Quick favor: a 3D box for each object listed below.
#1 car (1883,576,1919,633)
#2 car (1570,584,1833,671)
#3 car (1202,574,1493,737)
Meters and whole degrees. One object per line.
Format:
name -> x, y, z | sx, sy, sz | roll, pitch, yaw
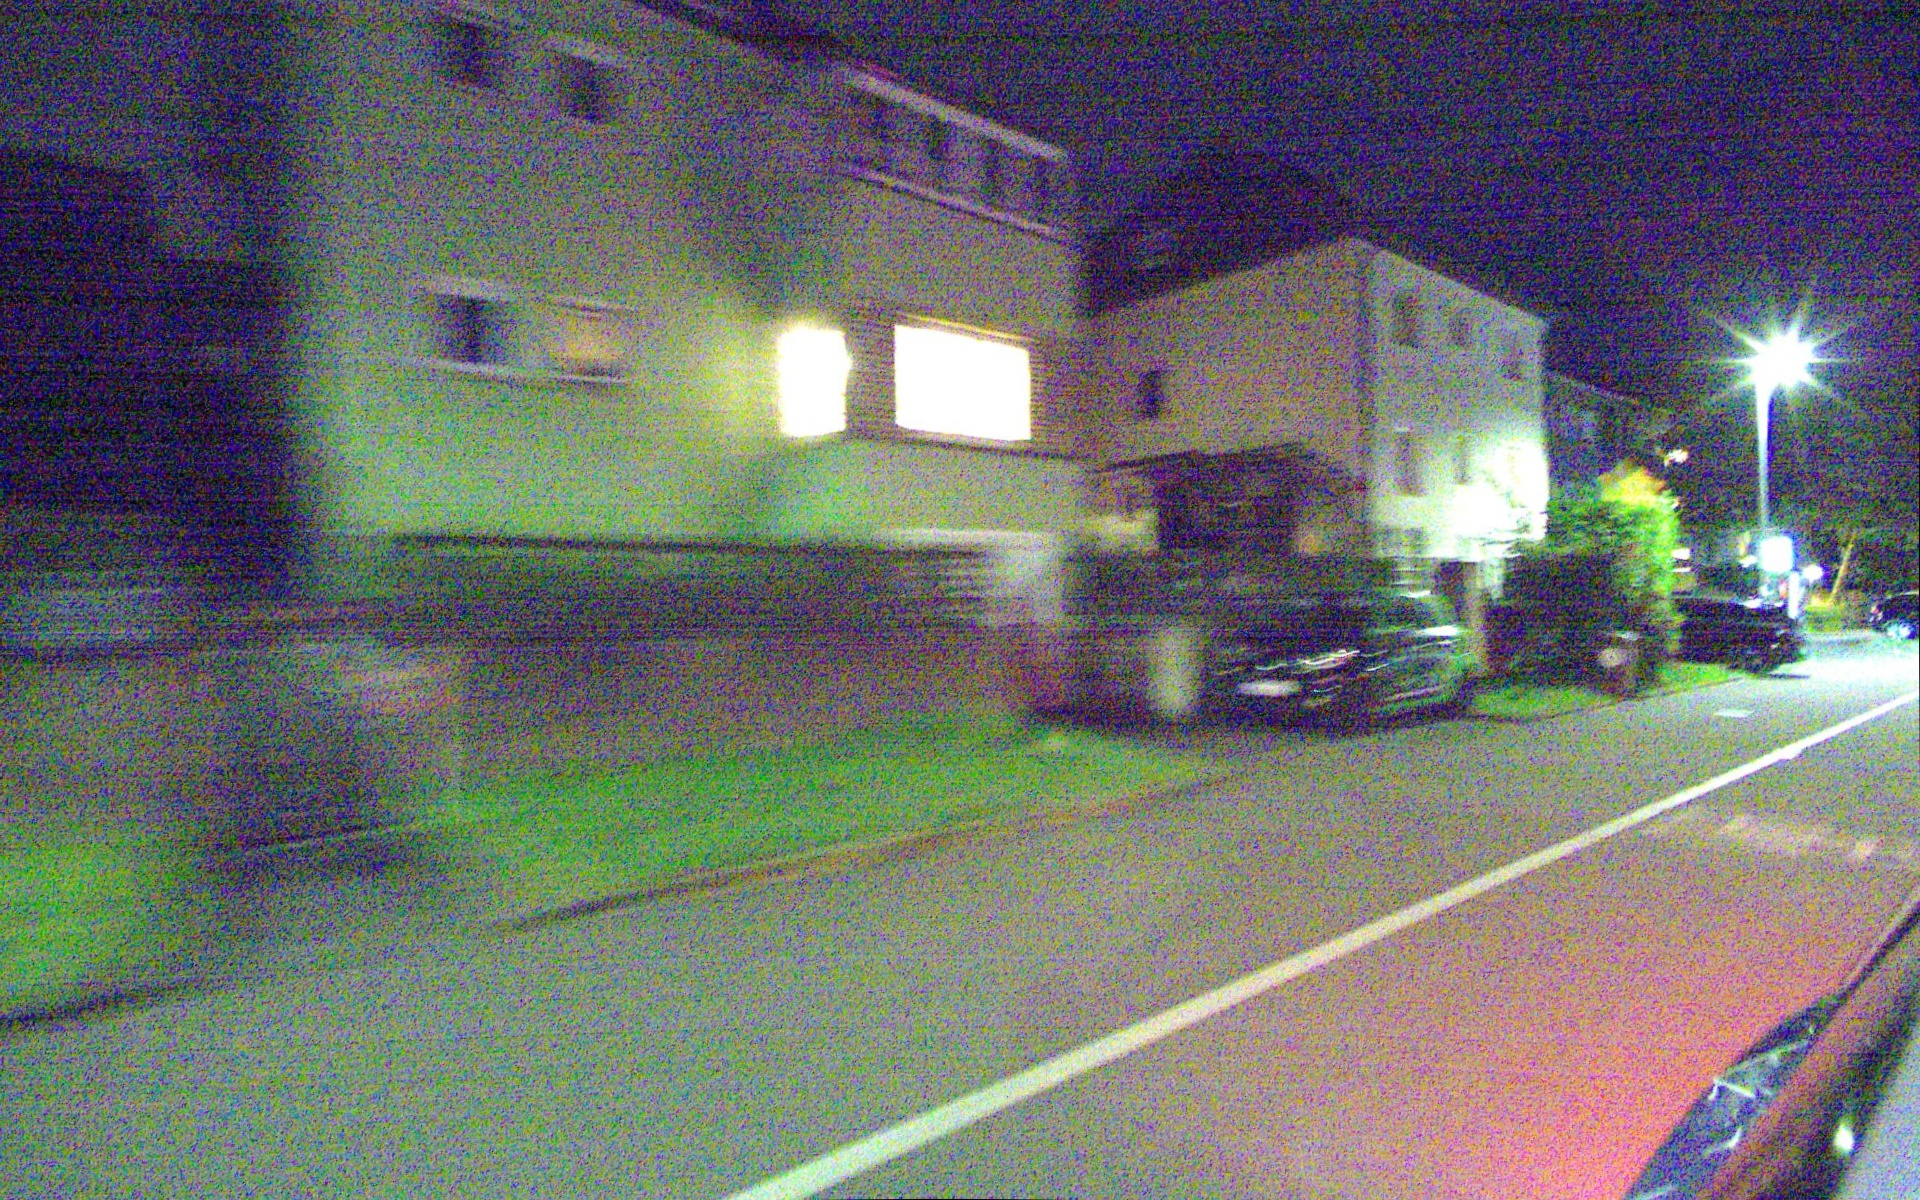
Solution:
car -> 32.537, 0.165, 32.189 | 1.992, 1.839, 4.370 | 0, 1, -34
car -> 14.633, 0.465, 20.143 | 1.800, 1.504, 3.913 | 0, 2, -40
car -> 4.534, 0.524, 11.630 | 3.614, 1.579, 1.642 | 0, 0, -41
